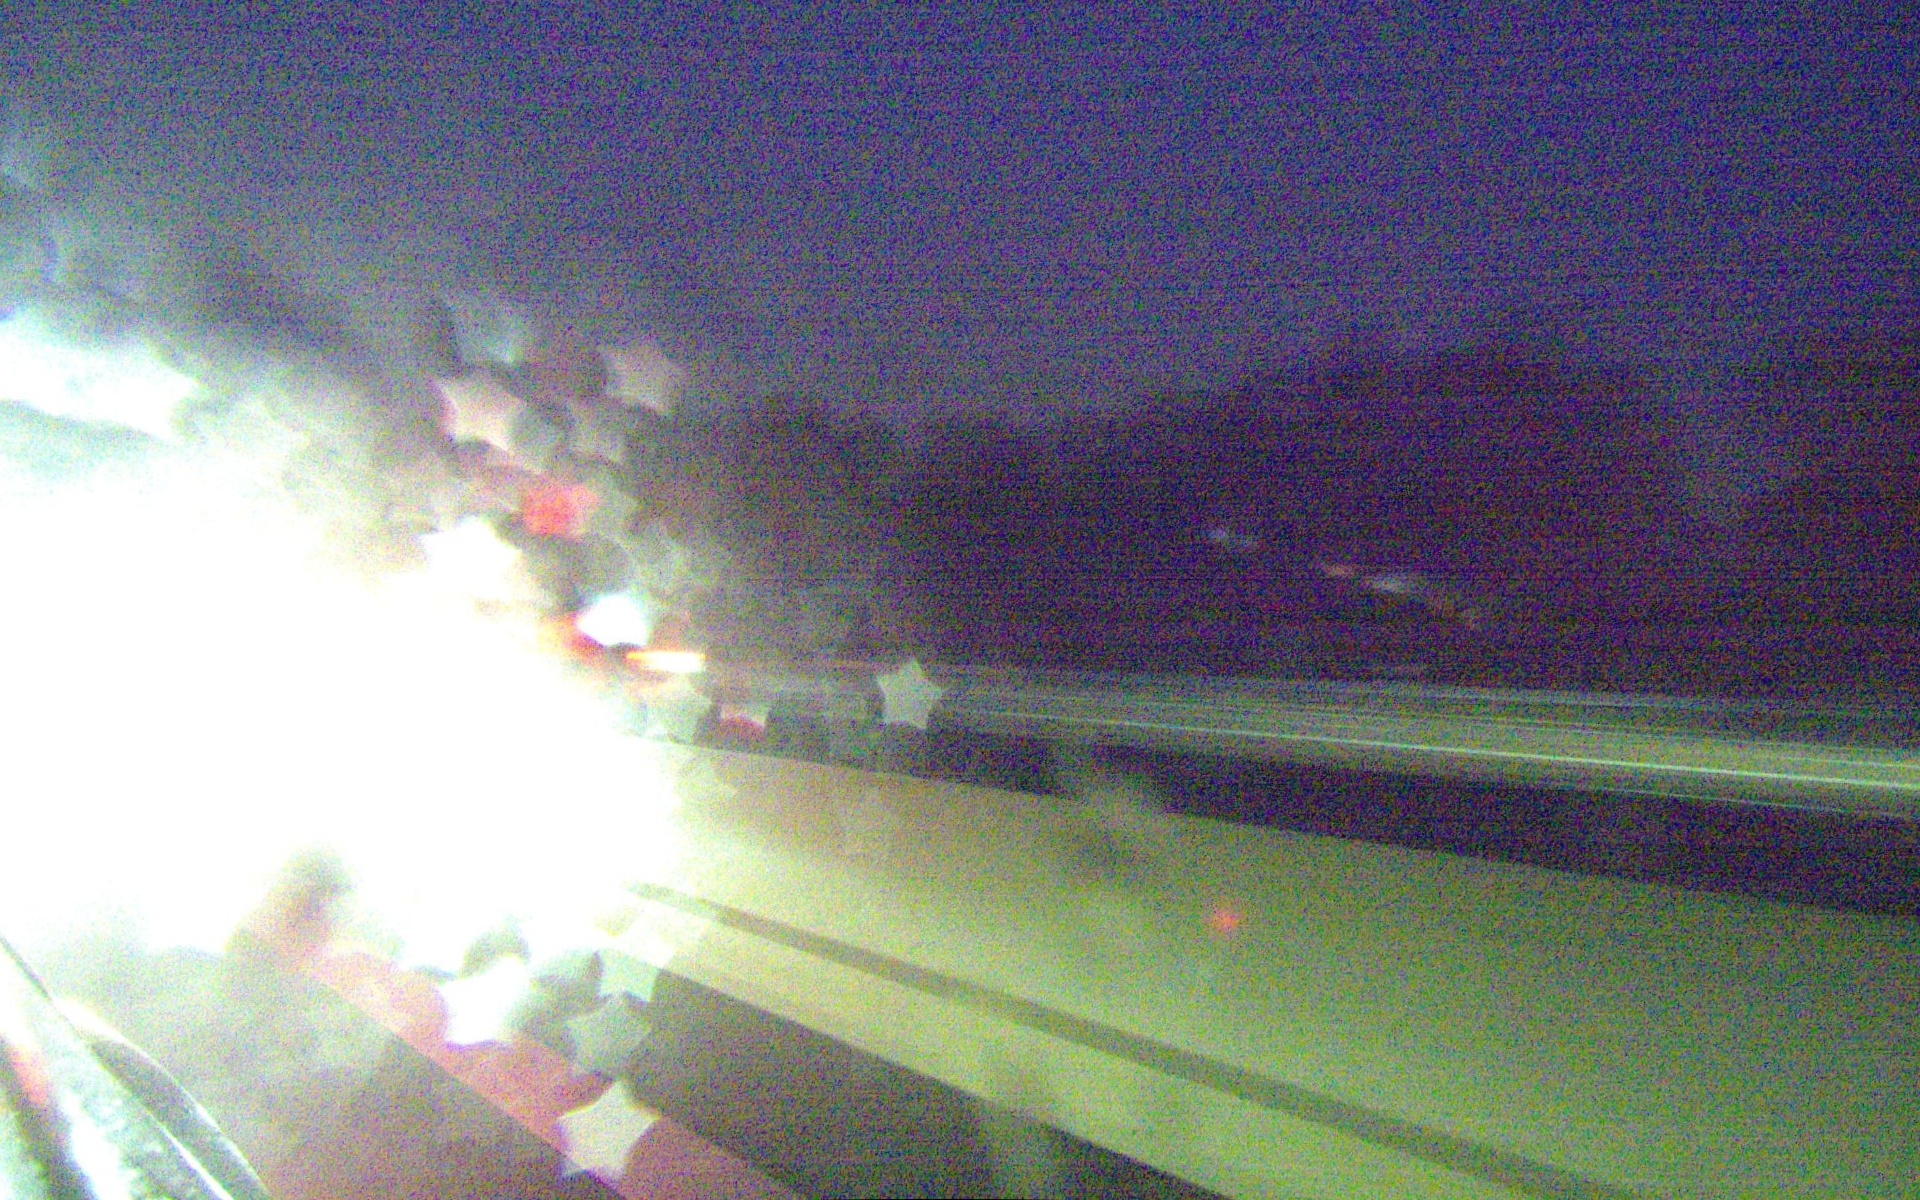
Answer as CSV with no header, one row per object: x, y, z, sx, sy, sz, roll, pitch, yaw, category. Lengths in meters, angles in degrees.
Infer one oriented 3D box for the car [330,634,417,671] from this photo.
-24.798,2.192,42.749,4.349,1.433,1.764,-1,-3,40,car

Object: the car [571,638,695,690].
-11.918,2.267,36.668,5.371,1.595,1.872,-1,0,43,car

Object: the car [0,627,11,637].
-151.237,4.988,159.700,4.271,1.520,1.672,-2,-4,42,car
